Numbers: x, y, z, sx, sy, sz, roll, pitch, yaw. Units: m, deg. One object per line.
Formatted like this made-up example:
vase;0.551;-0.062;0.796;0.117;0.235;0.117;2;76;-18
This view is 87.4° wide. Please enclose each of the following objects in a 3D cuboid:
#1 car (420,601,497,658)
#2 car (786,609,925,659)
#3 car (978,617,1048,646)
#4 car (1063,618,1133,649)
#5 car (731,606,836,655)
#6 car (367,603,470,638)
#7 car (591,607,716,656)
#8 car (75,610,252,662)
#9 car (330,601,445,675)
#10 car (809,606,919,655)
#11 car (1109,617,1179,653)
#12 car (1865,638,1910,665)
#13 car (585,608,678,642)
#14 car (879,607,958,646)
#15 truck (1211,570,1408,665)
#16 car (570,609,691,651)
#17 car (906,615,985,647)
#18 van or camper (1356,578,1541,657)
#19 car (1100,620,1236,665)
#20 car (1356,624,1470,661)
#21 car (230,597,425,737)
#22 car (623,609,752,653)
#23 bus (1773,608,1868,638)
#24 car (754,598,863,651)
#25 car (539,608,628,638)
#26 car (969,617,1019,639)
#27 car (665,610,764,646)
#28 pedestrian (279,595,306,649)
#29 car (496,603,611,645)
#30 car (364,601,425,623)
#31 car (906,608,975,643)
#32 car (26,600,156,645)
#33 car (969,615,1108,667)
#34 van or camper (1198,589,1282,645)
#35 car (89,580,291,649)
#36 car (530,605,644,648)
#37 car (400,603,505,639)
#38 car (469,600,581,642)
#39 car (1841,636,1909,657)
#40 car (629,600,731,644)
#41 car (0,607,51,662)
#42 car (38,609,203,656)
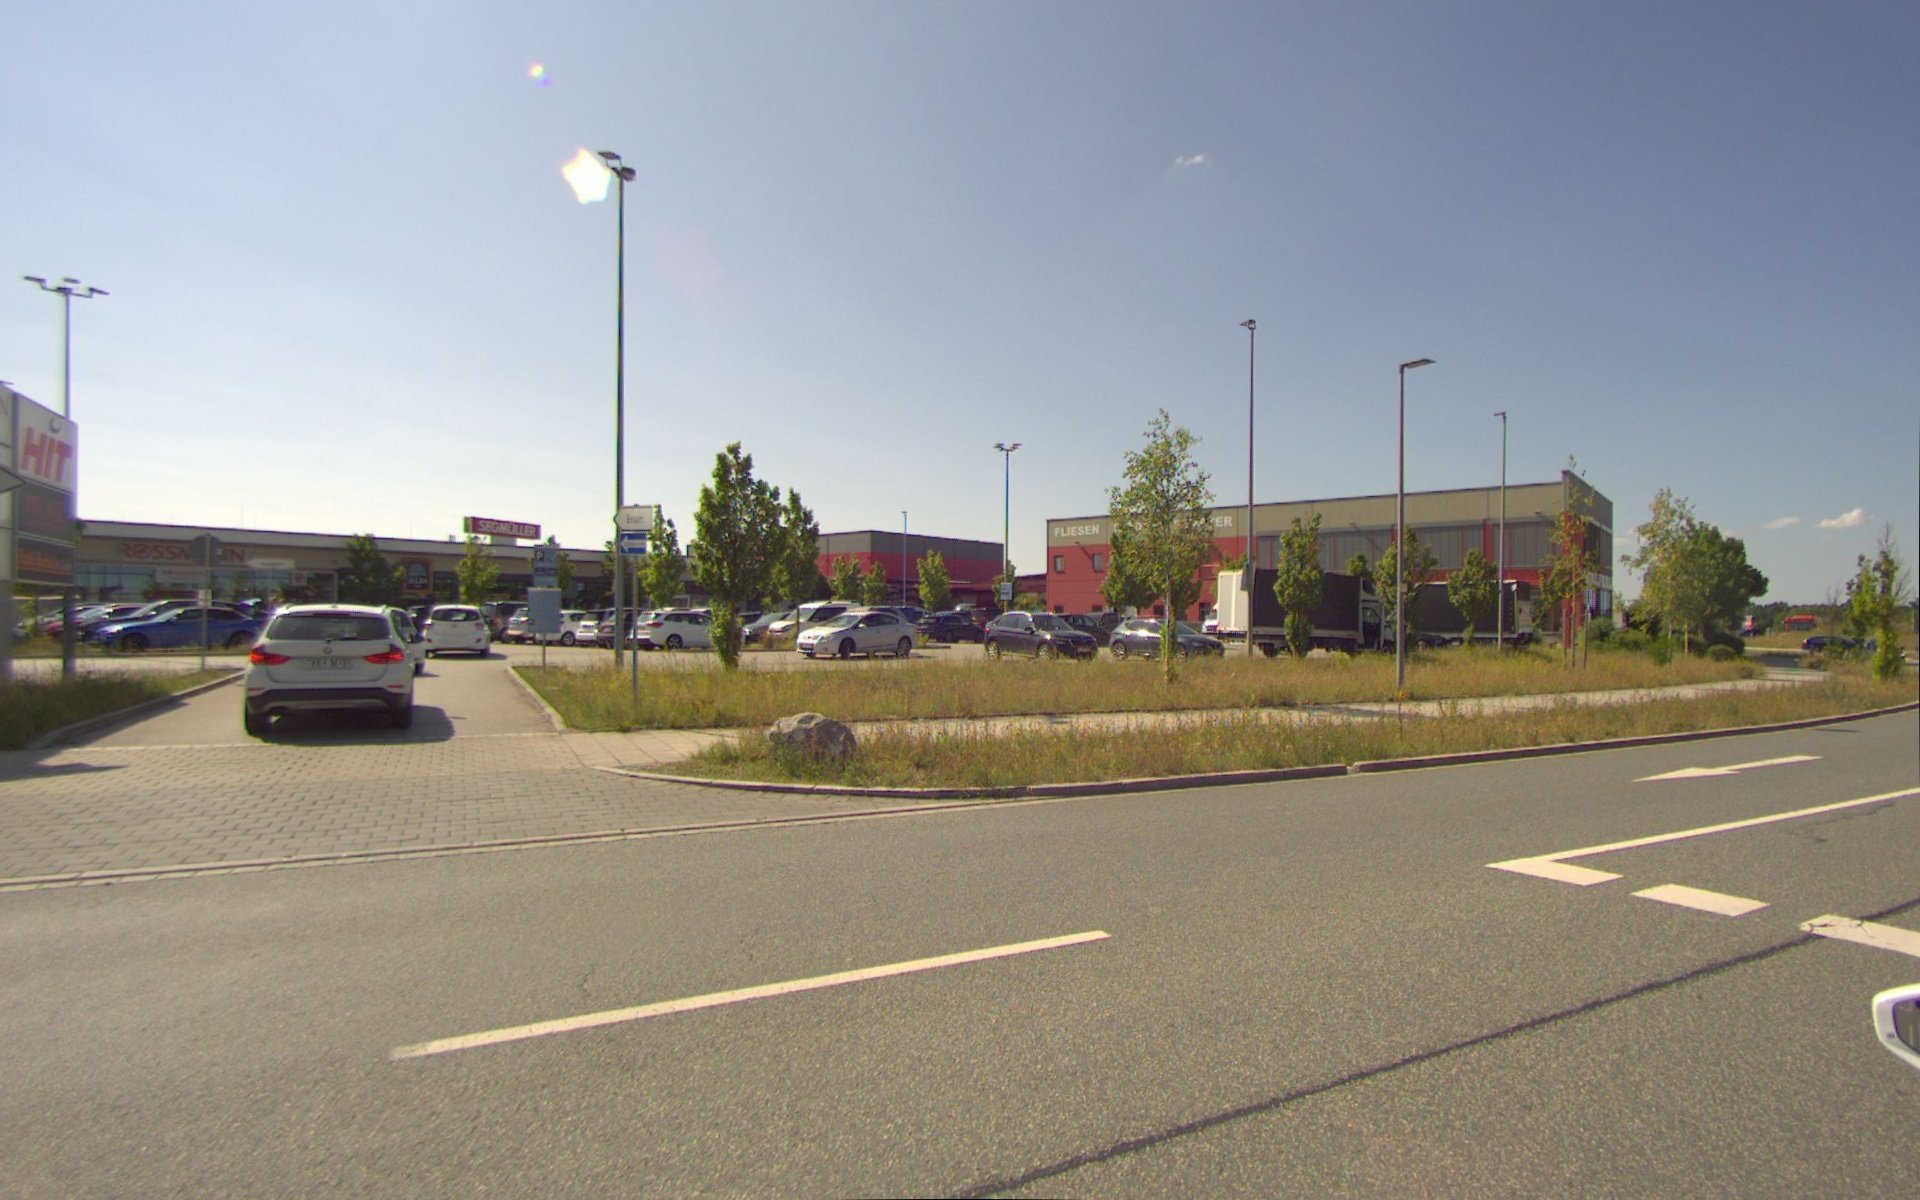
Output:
car;-14.918;0.872;29.998;1.892;1.568;3.974;1;-1;-26
car;-3.362;1.118;33.075;1.810;1.532;4.601;0;-2;39
car;3.070;1.799;57.468;1.809;1.583;4.365;0;-2;38
car;7.480;1.817;54.186;1.809;1.583;4.365;0;-2;38
car;-7.662;1.310;43.831;1.811;2.024;4.361;0;-2;40
car;-28.351;1.076;52.664;1.886;1.762;4.367;0;-2;36
car;-11.903;1.221;39.251;1.889;1.827;4.361;0;-2;40
car;-26.334;1.178;33.340;1.691;1.602;4.336;-1;-2;39
car;-13.425;0.842;23.450;1.899;1.568;3.959;2;-2;-36
car;-3.771;1.216;40.261;1.811;1.847;4.361;0;-2;40
car;9.634;1.802;52.296;1.809;1.797;4.365;0;-2;38
car;65.076;3.557;70.508;1.927;1.818;4.408;-2;-3;38
car;-17.223;1.328;52.879;1.811;1.689;4.361;0;-2;40
car;-2.222;1.426;54.413;1.811;2.021;4.361;0;-2;40
truck;13.732;0.734;39.463;7.374;3.510;2.316;1;-1;-17
car;-13.501;1.242;41.353;1.889;1.639;4.361;0;-2;40
car;-0.736;1.637;52.522;1.809;1.583;4.365;0;-2;38
van or camper;23.310;0.853;48.244;2.539;3.514;7.615;2;-2;-45
car;6.920;1.386;33.821;1.956;1.402;4.395;2;-2;-35
car;20.348;1.885;45.239;4.322;1.572;1.827;0;-2;44
car;-8.330;0.798;13.563;1.894;1.568;4.194;2;-1;-29
car;-10.018;1.149;37.144;1.811;1.532;4.361;0;-2;40
bus;99.186;2.631;115.713;12.016;3.120;2.784;-1;-1;-20
car;-6.224;1.025;41.691;1.811;2.092;4.361;0;-2;40
car;-21.189;1.325;56.668;1.811;1.613;4.361;0;-2;40
car;2.567;2.111;75.226;1.640;1.607;4.067;0;-2;38
car;-11.629;1.338;47.828;1.811;1.603;4.361;0;-2;40
pedestrian;-22.586;0.736;33.987;0.788;1.783;0.544;0;-1;41
car;-17.936;1.066;44.498;1.886;1.749;4.369;0;-2;35
car;-50.094;1.052;89.051;1.889;1.814;4.361;0;-2;40
car;-1.137;1.560;60.576;1.809;2.021;4.365;0;-2;38
car;-40.191;1.056;46.558;1.691;1.984;4.336;-1;-2;39
car;2.347;1.215;31.161;1.820;1.477;4.546;2;-2;-35
van or camper;17.665;1.126;63.089;2.400;3.314;7.204;0;-2;39
car;-24.207;0.480;31.755;1.691;2.012;4.813;-1;-2;39
car;-15.914;1.135;43.113;1.883;1.740;4.374;0;-2;30
car;-25.718;1.105;51.039;1.886;1.740;4.367;0;-2;36
car;-19.870;0.968;46.044;1.886;1.817;4.367;0;-2;36
car;74.456;3.778;81.760;1.750;1.537;3.774;2;-1;-27
car;-13.734;1.108;49.517;1.811;2.051;4.611;0;-2;40
car;-27.801;0.933;27.322;1.691;1.536;4.336;-1;-2;39
car;-30.393;1.167;36.472;1.691;1.596;4.336;-1;-2;39
